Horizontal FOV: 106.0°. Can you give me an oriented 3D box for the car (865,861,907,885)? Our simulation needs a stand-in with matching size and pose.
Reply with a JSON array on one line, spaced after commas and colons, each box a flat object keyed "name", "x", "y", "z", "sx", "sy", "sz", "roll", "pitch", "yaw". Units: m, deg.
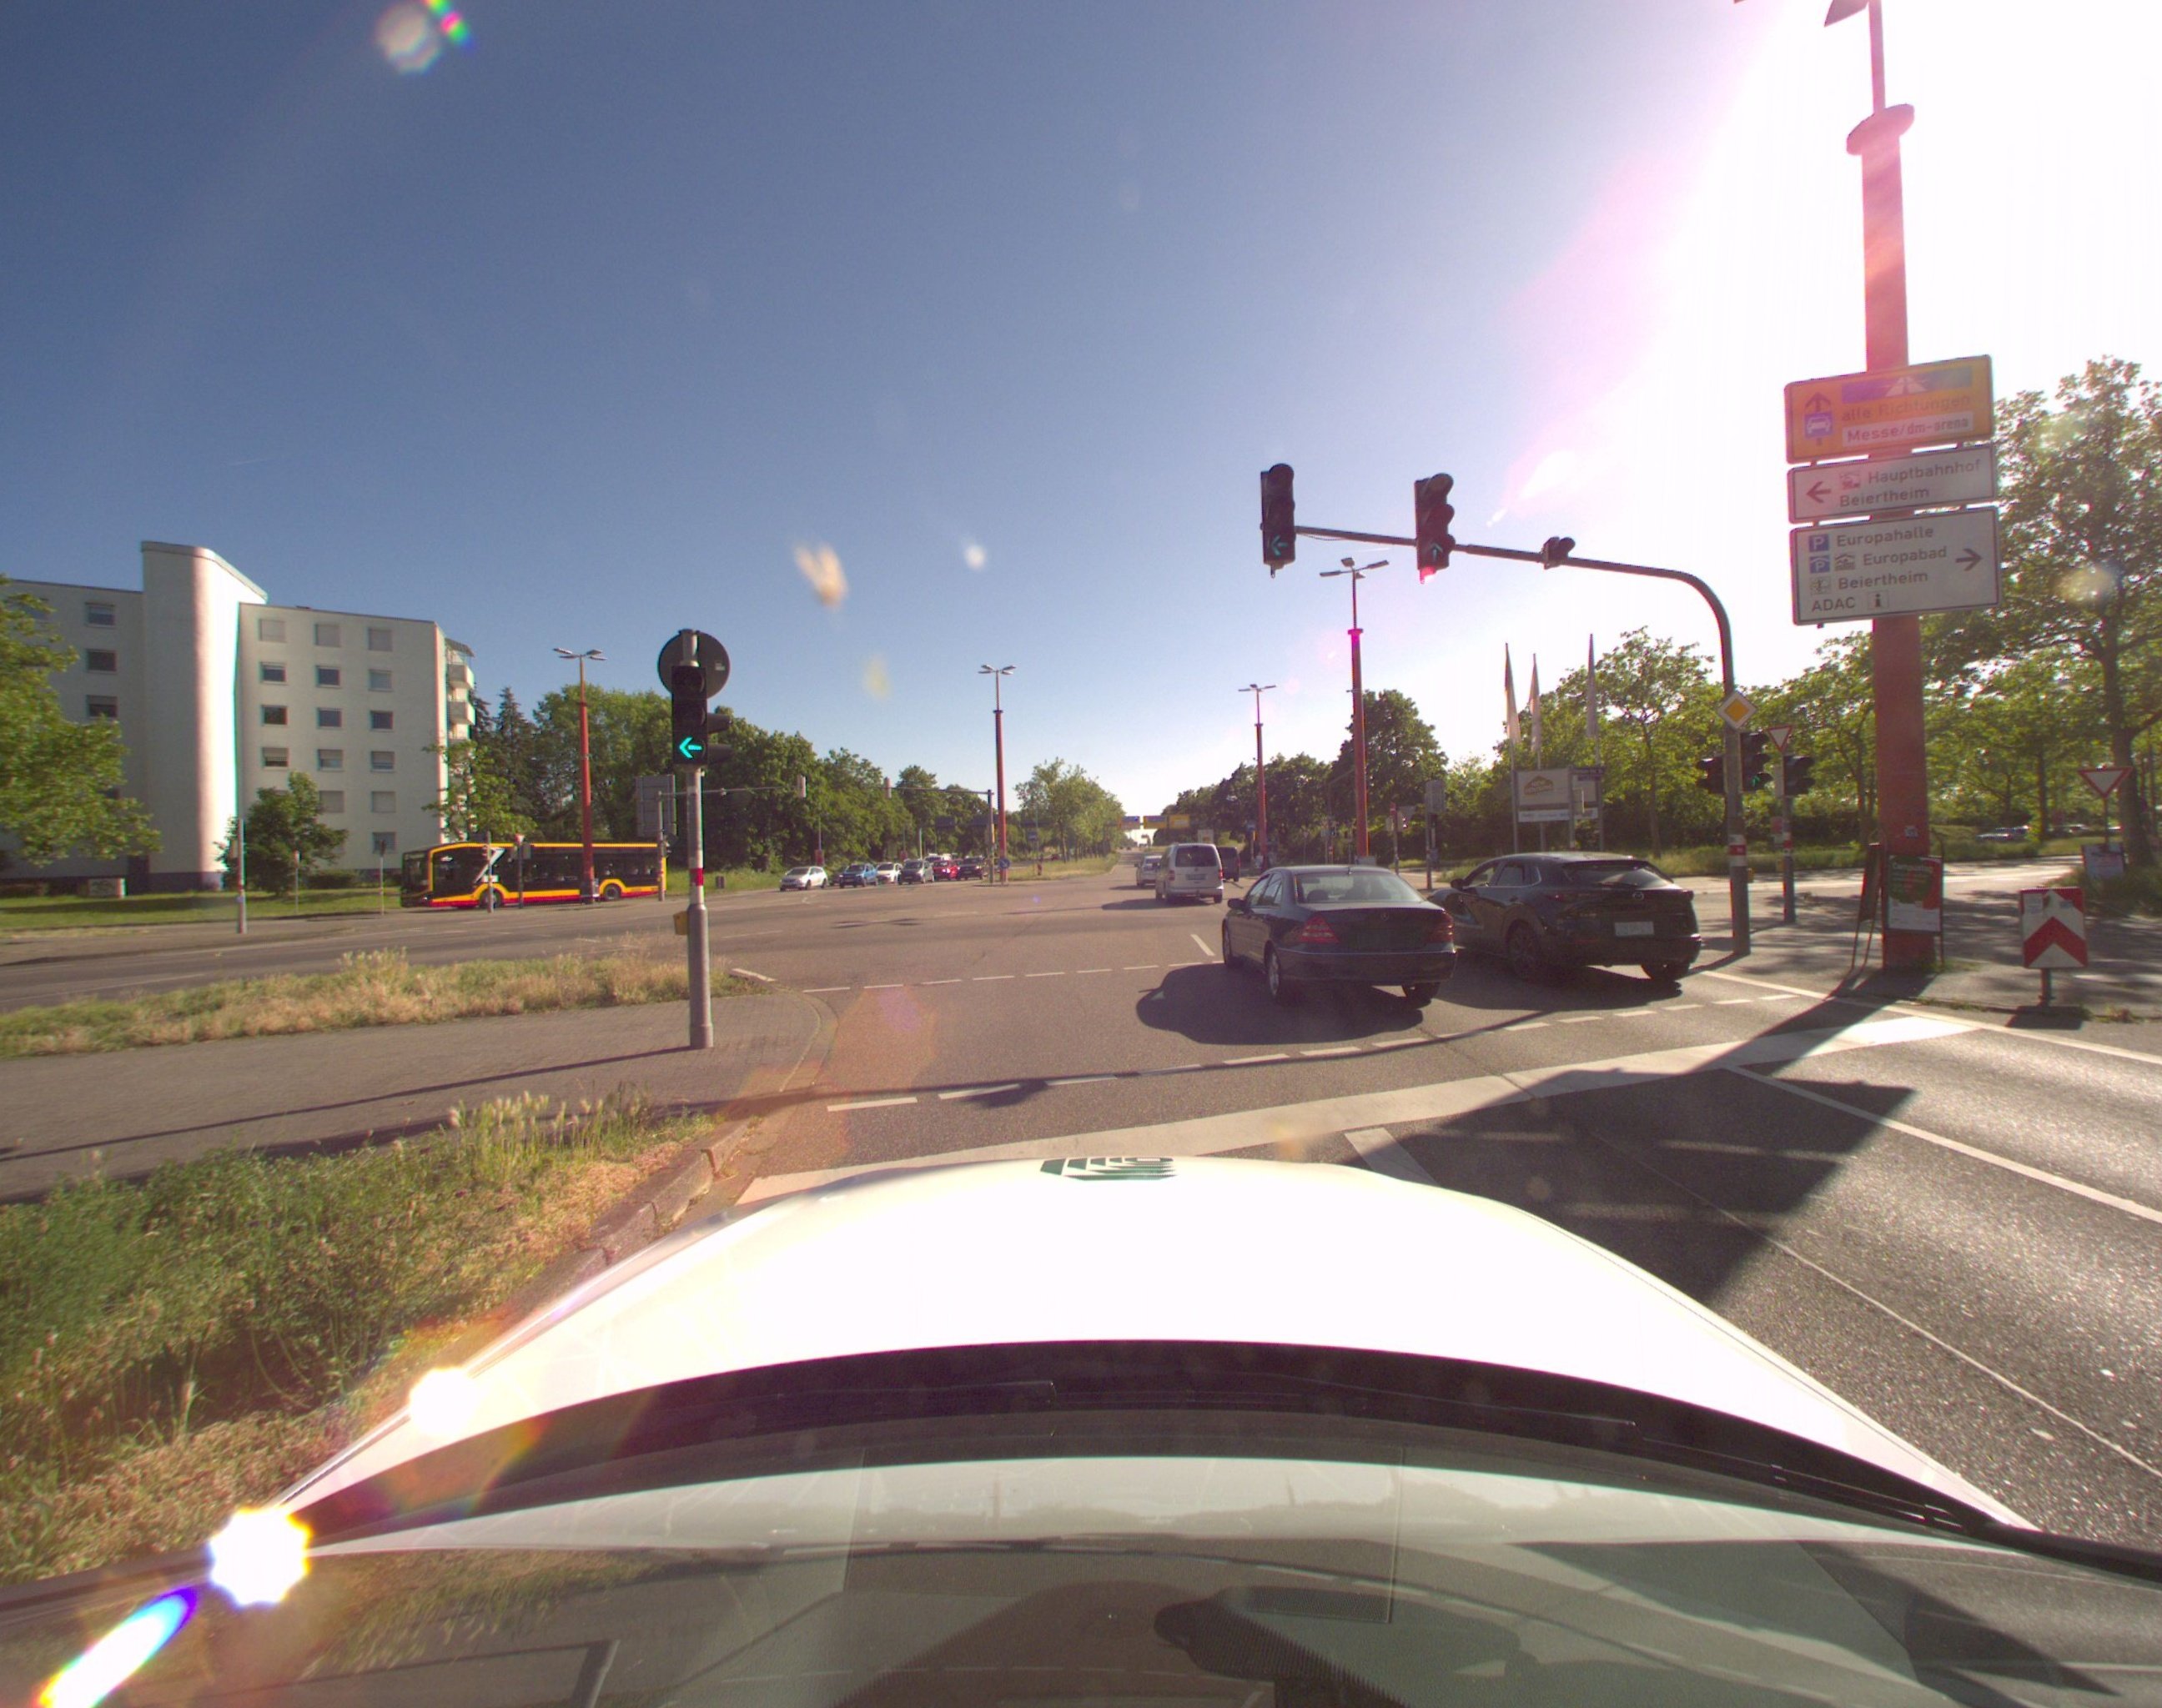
[{"name": "car", "x": -13.764, "y": 1.294, "z": 57.762, "sx": 1.895, "sy": 1.555, "sz": 4.000, "roll": -3, "pitch": 0, "yaw": 0}]

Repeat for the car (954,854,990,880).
[{"name": "car", "x": -7.518, "y": 0.864, "z": 56.703, "sx": 1.787, "sy": 1.626, "sz": 4.144, "roll": -3, "pitch": 0, "yaw": 1}]

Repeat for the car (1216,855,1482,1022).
[{"name": "car", "x": 2.803, "y": 0.774, "z": 9.556, "sx": 1.707, "sy": 1.454, "sz": 4.197, "roll": -2, "pitch": 0, "yaw": 0}]

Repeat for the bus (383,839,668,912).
[{"name": "bus", "x": -28.202, "y": 1.013, "z": 42.633, "sx": 2.621, "sy": 3.261, "sz": 12.610, "roll": -1, "pitch": -1, "yaw": 27}]

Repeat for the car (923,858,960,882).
[{"name": "car", "x": -10.057, "y": 1.131, "z": 59.024, "sx": 1.869, "sy": 1.552, "sz": 4.000, "roll": -5, "pitch": 0, "yaw": 0}]

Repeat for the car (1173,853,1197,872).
[{"name": "car", "x": 8.875, "y": 0.717, "z": 69.721, "sx": 1.709, "sy": 1.608, "sz": 3.849, "roll": 0, "pitch": -1, "yaw": 2}]

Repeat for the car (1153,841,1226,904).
[{"name": "car", "x": 3.407, "y": 0.560, "z": 26.252, "sx": 1.798, "sy": 1.821, "sz": 4.587, "roll": -1, "pitch": -1, "yaw": 1}]

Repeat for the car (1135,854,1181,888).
[{"name": "car", "x": 3.562, "y": 0.763, "z": 38.310, "sx": 1.798, "sy": 1.493, "sz": 4.683, "roll": 0, "pitch": 0, "yaw": 1}]

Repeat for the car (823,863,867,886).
[{"name": "car", "x": -17.548, "y": 1.509, "z": 60.679, "sx": 1.877, "sy": 1.513, "sz": 4.003, "roll": -3, "pitch": 0, "yaw": 3}]

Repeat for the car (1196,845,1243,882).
[{"name": "car", "x": 7.443, "y": 0.485, "z": 44.157, "sx": 1.797, "sy": 1.852, "sz": 5.106, "roll": -2, "pitch": 0, "yaw": 2}]

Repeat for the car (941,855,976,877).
[{"name": "car", "x": -9.737, "y": 0.940, "z": 65.021, "sx": 1.893, "sy": 1.630, "sz": 4.003, "roll": -1, "pitch": 0, "yaw": 3}]

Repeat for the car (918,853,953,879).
[{"name": "car", "x": -12.714, "y": 1.007, "z": 71.301, "sx": 1.954, "sy": 2.155, "sz": 5.083, "roll": -2, "pitch": 0, "yaw": 1}]

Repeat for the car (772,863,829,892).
[{"name": "car", "x": -17.635, "y": 1.429, "z": 51.417, "sx": 1.869, "sy": 1.652, "sz": 4.222, "roll": -3, "pitch": -1, "yaw": 3}]

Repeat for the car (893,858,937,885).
[{"name": "car", "x": -10.686, "y": 1.084, "z": 52.696, "sx": 1.867, "sy": 1.550, "sz": 4.029, "roll": -3, "pitch": 0, "yaw": 2}]

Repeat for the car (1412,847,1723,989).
[{"name": "car", "x": 6.058, "y": 0.704, "z": 10.820, "sx": 1.761, "sy": 1.508, "sz": 4.228, "roll": 0, "pitch": -1, "yaw": 3}]

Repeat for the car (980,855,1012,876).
[{"name": "car", "x": -6.669, "y": 0.869, "z": 64.167, "sx": 1.878, "sy": 1.543, "sz": 4.002, "roll": -3, "pitch": 0, "yaw": 2}]

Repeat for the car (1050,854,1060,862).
[{"name": "car", "x": -5.813, "y": 0.906, "z": 182.583, "sx": 1.908, "sy": 1.846, "sz": 3.963, "roll": -2, "pitch": 0, "yaw": 2}]

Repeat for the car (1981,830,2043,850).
[{"name": "car", "x": 73.674, "y": -1.111, "z": 64.459, "sx": 4.138, "sy": 1.517, "sz": 1.854, "roll": 0, "pitch": -1, "yaw": -20}]

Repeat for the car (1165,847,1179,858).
[{"name": "car", "x": 13.753, "y": -0.151, "z": 122.747, "sx": 1.757, "sy": 1.635, "sz": 4.299, "roll": 0, "pitch": -1, "yaw": 1}]

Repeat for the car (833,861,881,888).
[{"name": "car", "x": -14.128, "y": 1.291, "z": 51.616, "sx": 1.794, "sy": 1.515, "sz": 3.861, "roll": -3, "pitch": 0, "yaw": 2}]
